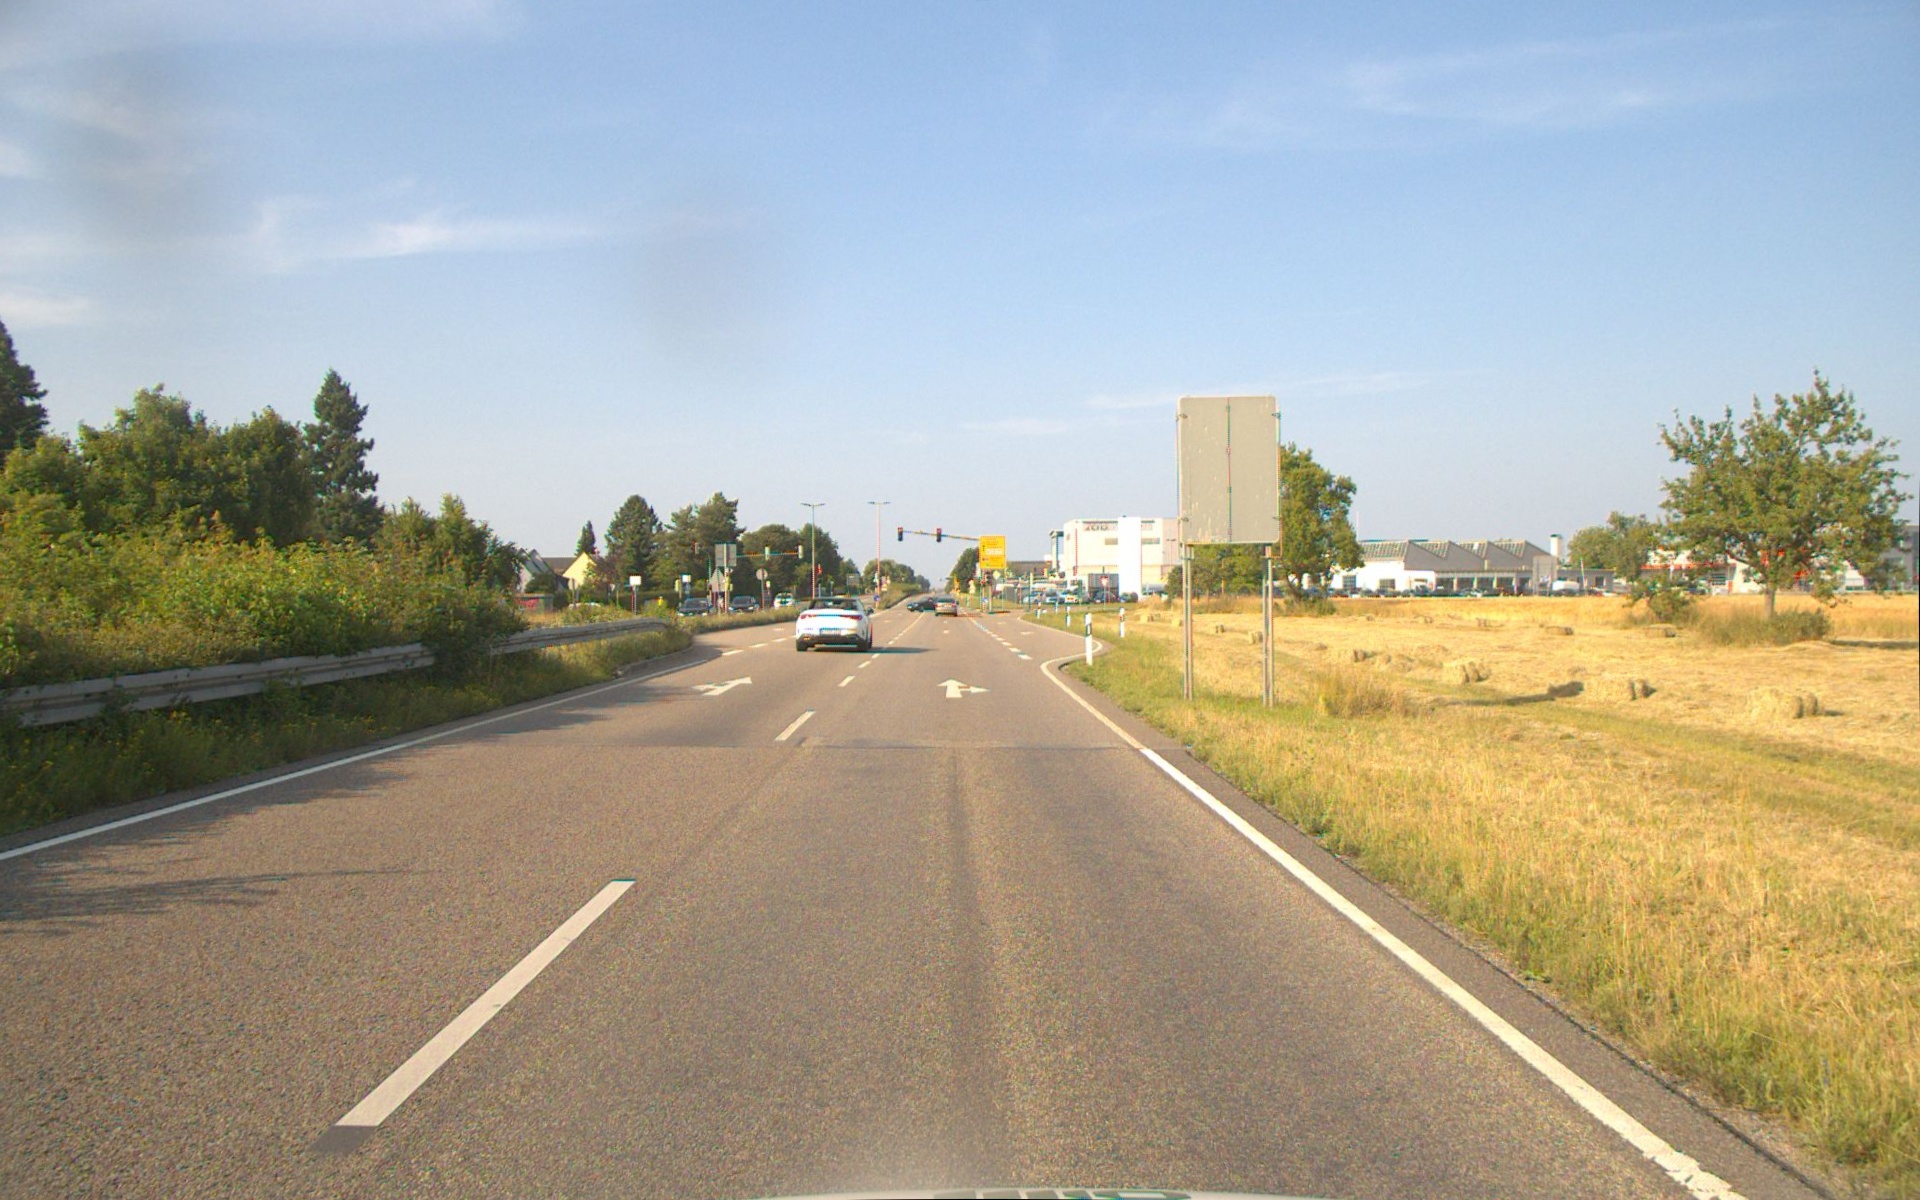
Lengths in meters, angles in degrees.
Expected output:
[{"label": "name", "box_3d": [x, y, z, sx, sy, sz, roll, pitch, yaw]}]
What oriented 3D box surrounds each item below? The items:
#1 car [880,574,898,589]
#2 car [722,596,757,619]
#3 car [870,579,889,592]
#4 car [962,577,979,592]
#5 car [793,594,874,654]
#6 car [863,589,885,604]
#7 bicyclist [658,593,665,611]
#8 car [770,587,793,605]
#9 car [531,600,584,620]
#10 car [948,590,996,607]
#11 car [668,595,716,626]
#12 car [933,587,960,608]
[{"label": "car", "box_3d": [-8.525, -2.209, 199.444, 1.908, 1.803, 4.000, 1, 1, 0]}, {"label": "car", "box_3d": [-14.513, 0.499, 109.053, 1.693, 1.432, 4.000, 1, 1, 0]}, {"label": "car", "box_3d": [-8.993, -1.579, 185.236, 1.908, 1.432, 4.000, 1, 1, 0]}, {"label": "car", "box_3d": [1.266, -1.822, 199.665, 1.952, 1.787, 4.000, 1, 1, 0]}, {"label": "car", "box_3d": [-3.265, 0.594, 43.297, 1.871, 1.447, 3.999, 1, 1, -1]}, {"label": "car", "box_3d": [-8.363, -0.360, 160.345, 1.908, 1.432, 4.000, 1, 1, 0]}, {"label": "bicyclist", "box_3d": [-23.419, 0.160, 129.931, 0.446, 1.375, 0.551, -1, 0, -4]}, {"label": "car", "box_3d": [-18.037, -0.431, 167.372, 1.908, 1.831, 4.000, 1, 1, 0]}, {"label": "car", "box_3d": [-33.464, 0.836, 137.633, 4.106, 1.548, 1.996, 1, 0, -9]}, {"label": "car", "box_3d": [1.113, -0.118, 149.538, 3.929, 1.432, 1.942, 0, 0, -21]}, {"label": "car", "box_3d": [-14.199, 0.535, 87.796, 1.953, 1.512, 4.226, 1, 1, -1]}, {"label": "car", "box_3d": [-1.025, -0.220, 125.759, 1.953, 1.512, 3.999, 1, 1, -1]}]
